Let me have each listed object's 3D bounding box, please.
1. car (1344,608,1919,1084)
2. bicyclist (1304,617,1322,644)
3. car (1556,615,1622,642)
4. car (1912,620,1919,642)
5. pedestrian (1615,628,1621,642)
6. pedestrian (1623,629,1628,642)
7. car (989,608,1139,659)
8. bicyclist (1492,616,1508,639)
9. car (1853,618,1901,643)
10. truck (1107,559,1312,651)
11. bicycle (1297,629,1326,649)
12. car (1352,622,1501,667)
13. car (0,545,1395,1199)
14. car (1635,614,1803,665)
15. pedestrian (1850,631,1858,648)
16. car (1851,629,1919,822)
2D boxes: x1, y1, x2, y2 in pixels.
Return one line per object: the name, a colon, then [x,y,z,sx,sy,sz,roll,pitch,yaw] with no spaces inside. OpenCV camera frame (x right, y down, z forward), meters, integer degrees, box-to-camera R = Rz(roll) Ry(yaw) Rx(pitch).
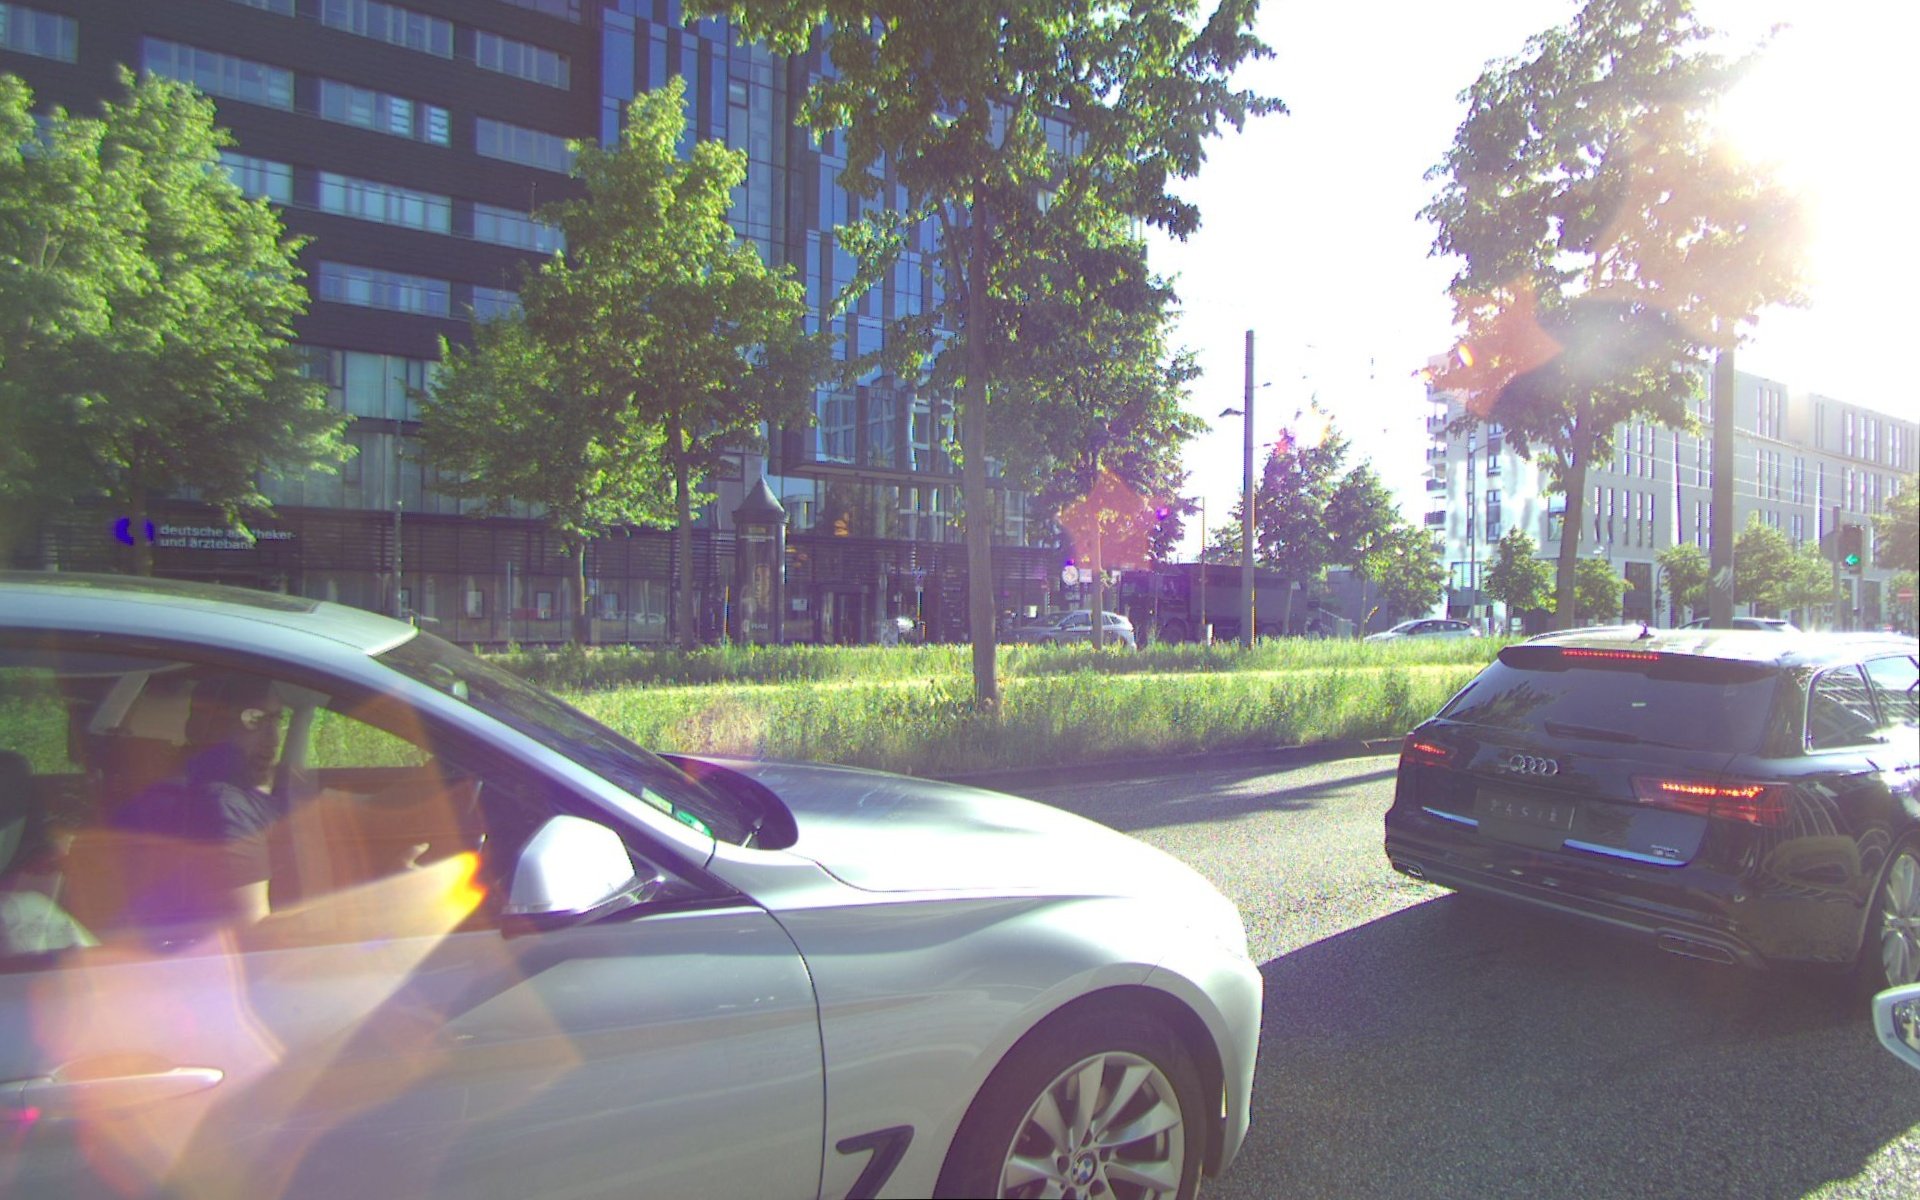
car: [4.406,0.836,5.288,4.911,1.504,1.864,1,-1,-32]
bicyclist: [19.044,1.651,54.150,0.811,1.443,0.475,1,-1,-30]
car: [37.527,1.685,59.899,3.953,1.540,1.756,1,-1,-30]
car: [90.292,2.877,93.136,3.953,2.040,1.984,1,-1,-30]
pedestrian: [52.612,2.799,80.302,0.257,1.100,0.252,1,0,-30]
pedestrian: [53.042,2.827,80.053,0.286,1.100,0.252,1,0,-30]
car: [3.233,1.013,30.829,4.521,1.467,1.788,1,-1,-34]
bicyclist: [36.185,1.841,67.346,0.706,1.549,0.674,1,0,-30]
car: [78.093,2.591,85.521,3.953,2.040,1.984,1,-1,-30]
truck: [11.692,0.301,46.492,10.094,3.904,2.877,1,-1,-31]
bicycle: [18.945,2.109,54.093,1.735,1.049,0.475,1,-1,-31]
car: [16.517,1.571,35.661,4.481,1.467,1.804,1,-1,-4]
car: [-1.342,0.699,2.016,4.509,1.504,1.810,1,-1,-31]
car: [24.701,1.251,32.863,1.499,1.512,4.190,1,-1,-24]
pedestrian: [93.705,4.168,105.275,0.474,1.767,0.466,1,0,-30]
car: [9.336,0.992,8.224,4.288,1.445,1.833,1,-1,-30]
